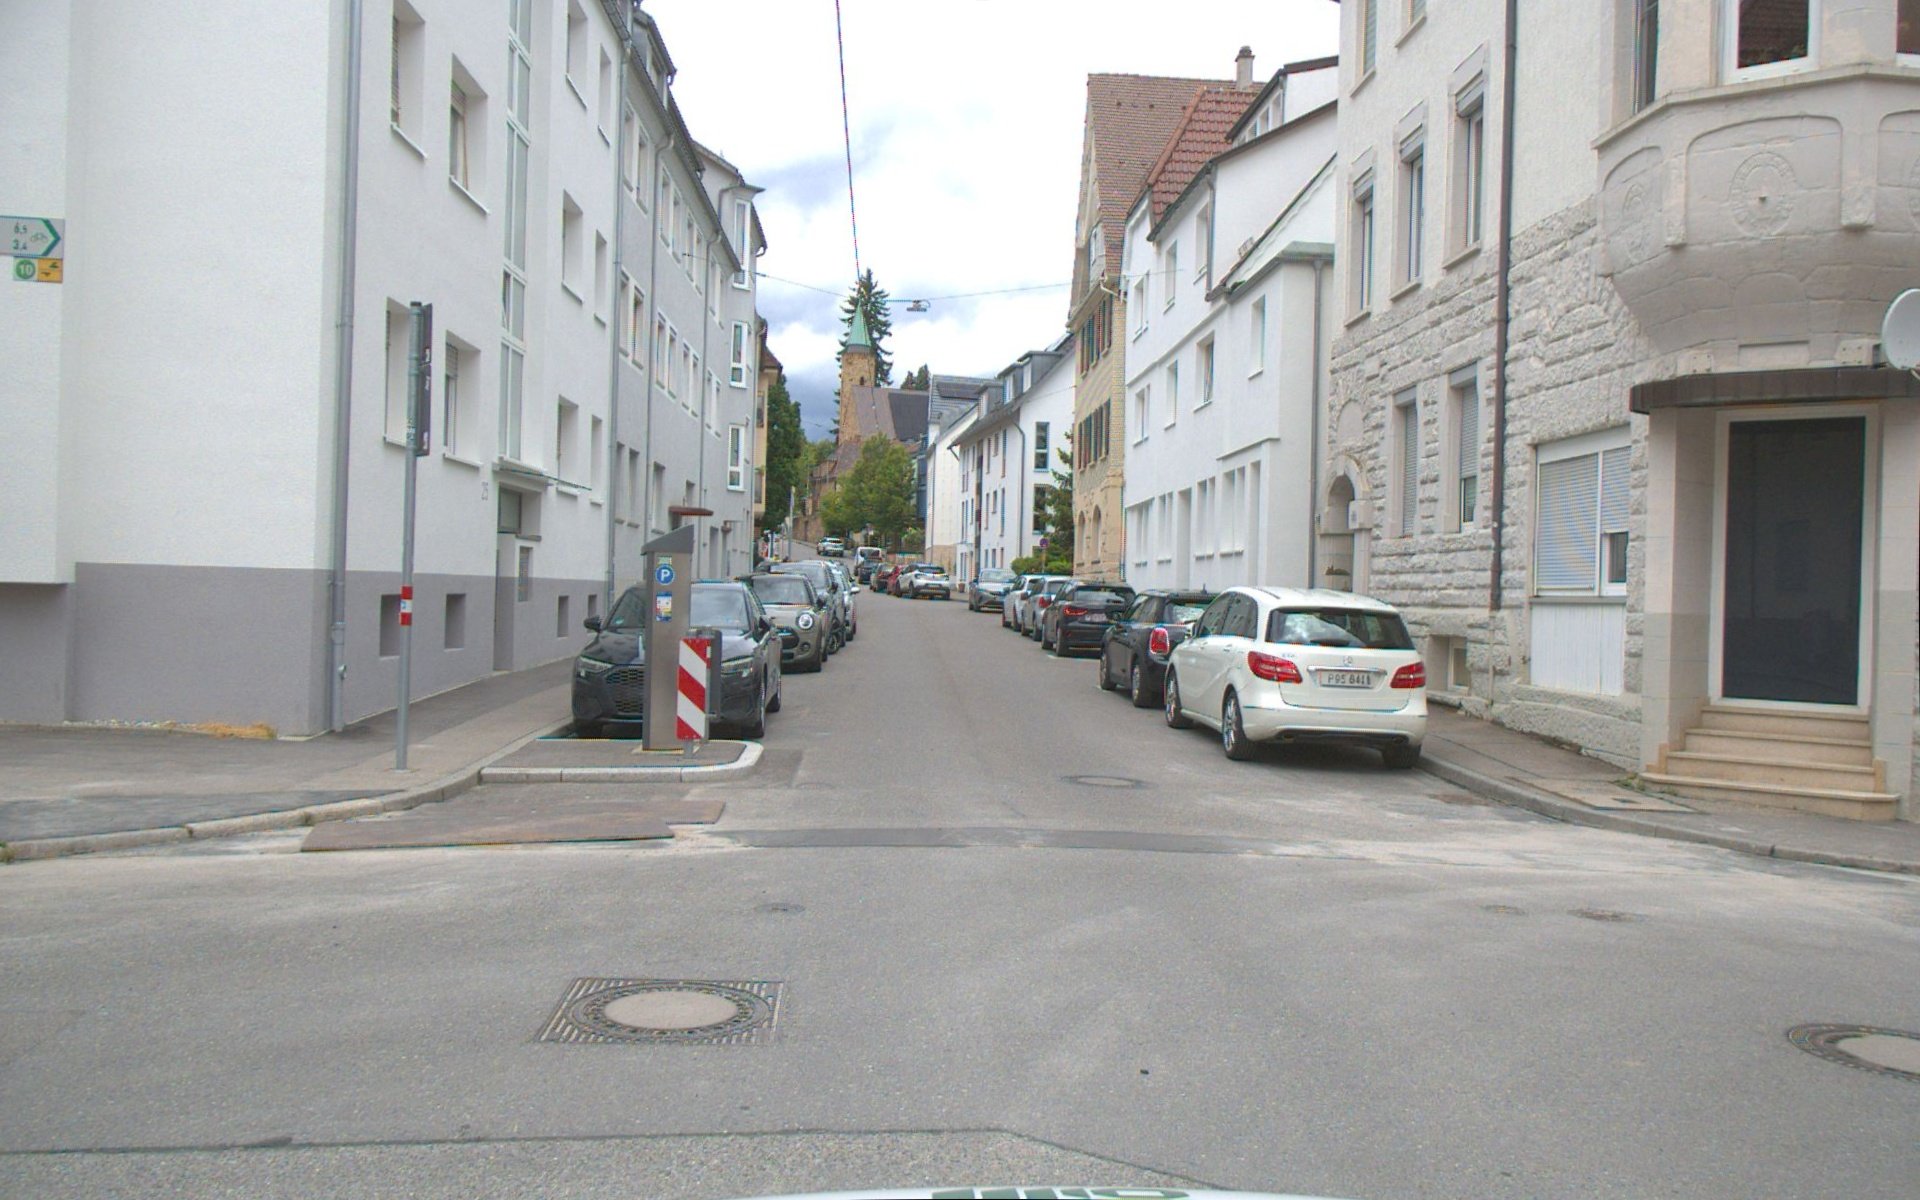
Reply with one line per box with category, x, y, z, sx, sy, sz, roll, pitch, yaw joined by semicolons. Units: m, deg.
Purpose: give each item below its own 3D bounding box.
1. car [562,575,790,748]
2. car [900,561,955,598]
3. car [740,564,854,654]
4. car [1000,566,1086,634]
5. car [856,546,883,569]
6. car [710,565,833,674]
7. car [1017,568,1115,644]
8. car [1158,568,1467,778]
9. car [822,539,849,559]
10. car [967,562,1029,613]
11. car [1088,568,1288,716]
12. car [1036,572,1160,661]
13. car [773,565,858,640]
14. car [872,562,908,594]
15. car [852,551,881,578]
car;-2.670;0.503;16.428;1.784;1.415;4.295;1;1;-4
car;-1.488;-0.926;73.939;1.753;1.505;3.616;2;2;-12
car;-2.906;0.122;30.174;1.695;1.495;3.720;1;1;0
car;2.081;-0.026;42.396;1.635;1.504;3.623;3;2;-5
car;-6.219;-2.928;113.323;1.635;1.505;3.623;2;2;-5
car;-2.835;0.238;25.556;1.696;1.515;3.717;1;1;-4
car;2.376;0.100;37.820;1.635;1.504;3.623;3;2;-5
car;3.276;0.599;16.214;1.785;1.626;4.024;3;2;-5
car;-11.473;-4.683;152.155;2.142;1.722;3.618;2;2;-10
car;1.255;-0.441;55.686;1.635;1.504;3.623;3;2;-5
car;2.833;0.458;21.417;1.635;1.559;4.024;3;2;-5
car;2.569;0.255;31.564;1.635;1.409;4.024;3;2;-5
car;-3.055;0.020;35.443;1.696;1.473;3.717;1;1;-4
car;-3.619;-1.161;84.895;1.635;1.505;3.623;2;2;-5
car;-5.788;-2.204;101.721;1.635;1.505;3.623;2;2;-5
